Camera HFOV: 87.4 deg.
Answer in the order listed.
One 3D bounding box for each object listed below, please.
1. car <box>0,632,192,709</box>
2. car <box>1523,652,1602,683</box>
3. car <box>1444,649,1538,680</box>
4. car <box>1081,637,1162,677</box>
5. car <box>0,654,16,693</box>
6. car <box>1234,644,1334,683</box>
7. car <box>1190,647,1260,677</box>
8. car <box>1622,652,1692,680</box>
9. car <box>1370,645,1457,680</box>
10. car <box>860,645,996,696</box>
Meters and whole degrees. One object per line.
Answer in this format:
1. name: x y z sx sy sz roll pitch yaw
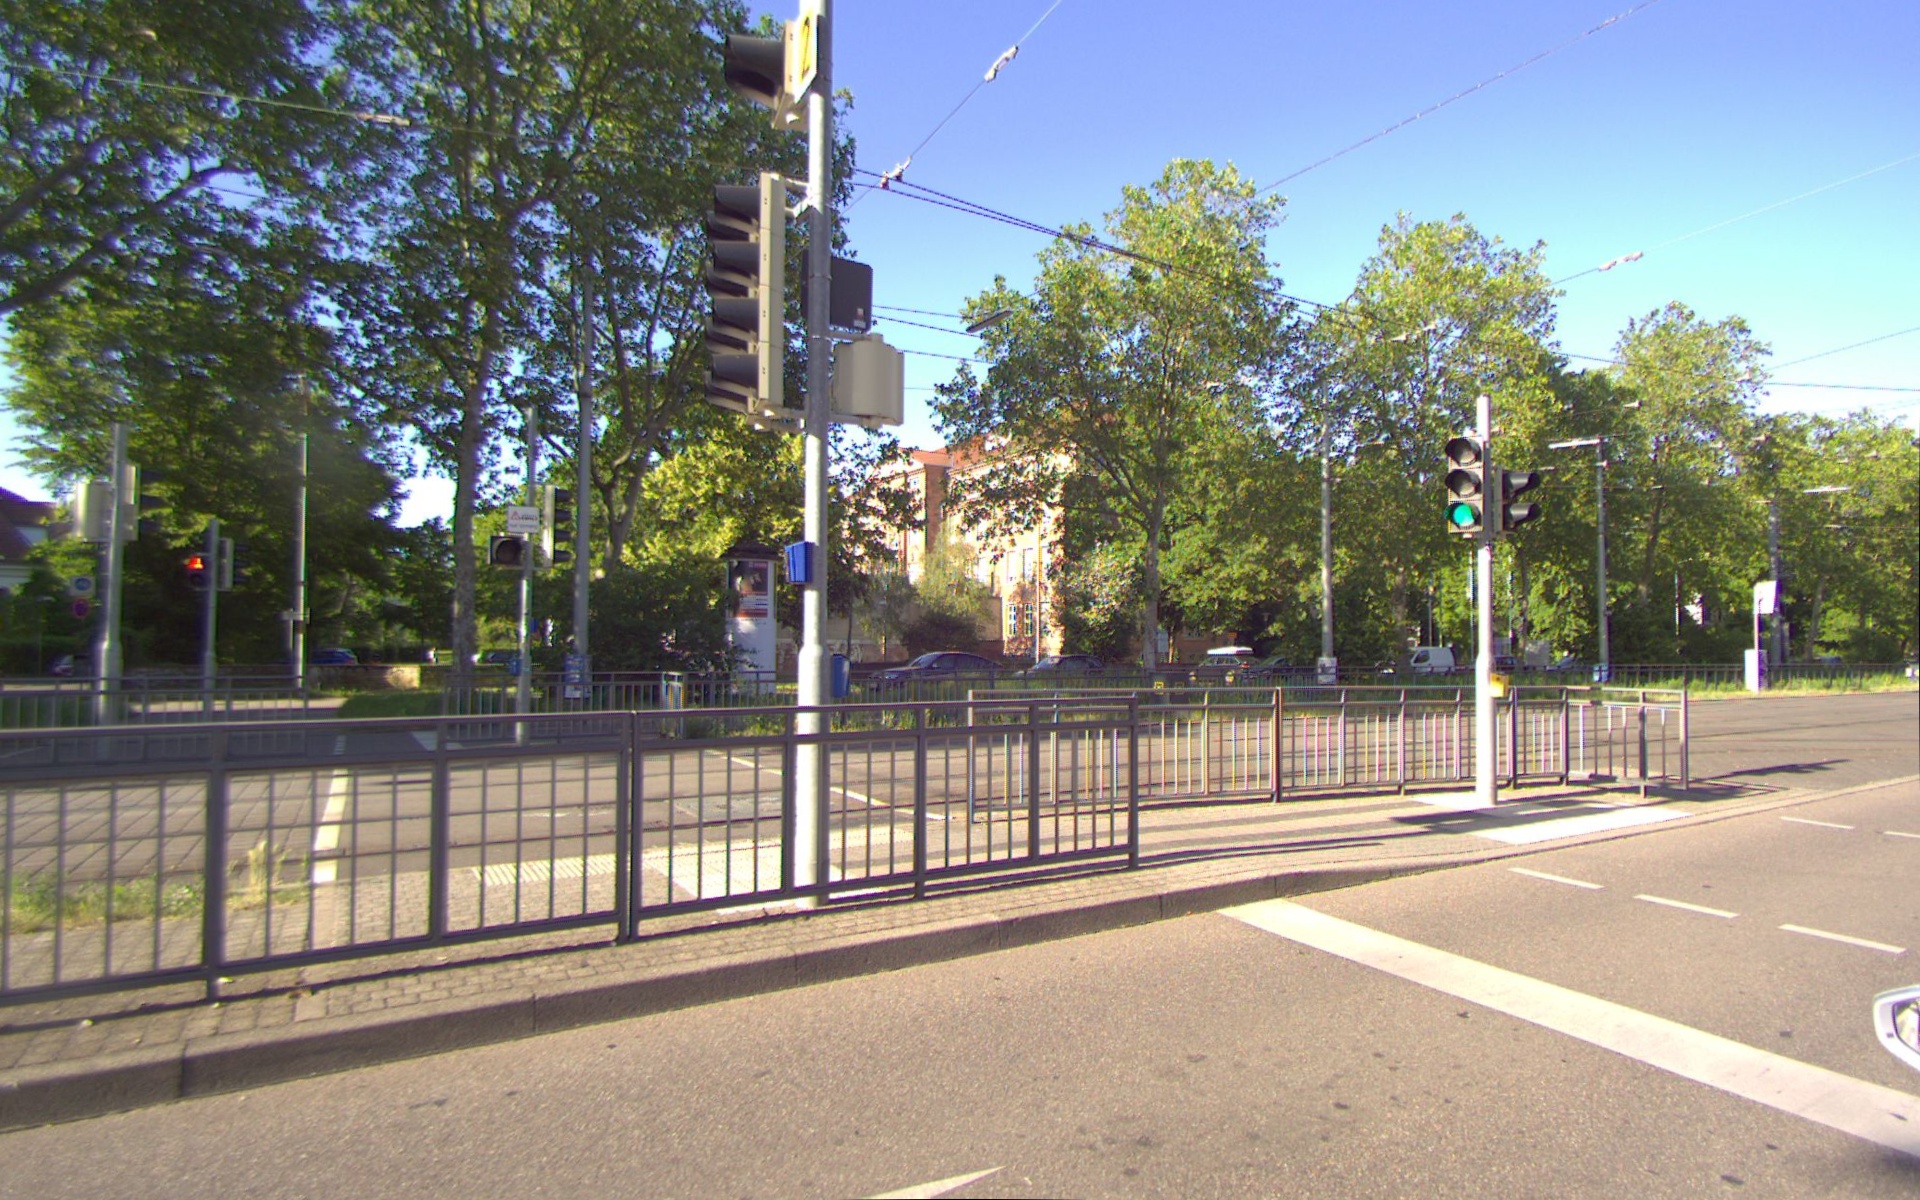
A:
1. car: -18.891 1.449 21.165 4.099 1.529 1.660 2 -3 -32
2. car: 31.980 3.562 53.286 4.232 1.529 1.926 3 -3 -32
3. car: 25.903 3.155 48.968 4.796 1.366 1.926 3 -3 -32
4. car: 8.547 2.989 53.090 3.954 2.040 1.984 2 -3 -31
5. car: -36.834 2.732 37.063 1.976 1.437 3.969 2 -2 -29
6. car: 13.268 2.566 41.087 4.099 1.529 1.660 2 -3 -32
7. car: 14.194 3.285 54.017 1.375 1.514 3.974 1 -3 -26
8. car: 41.020 3.912 59.103 4.232 1.529 1.926 3 -3 -32
9. car: 20.737 2.833 45.928 4.099 1.529 1.660 2 -2 -32
10. car: -0.987 2.206 32.083 4.099 1.529 1.660 2 -3 -32
